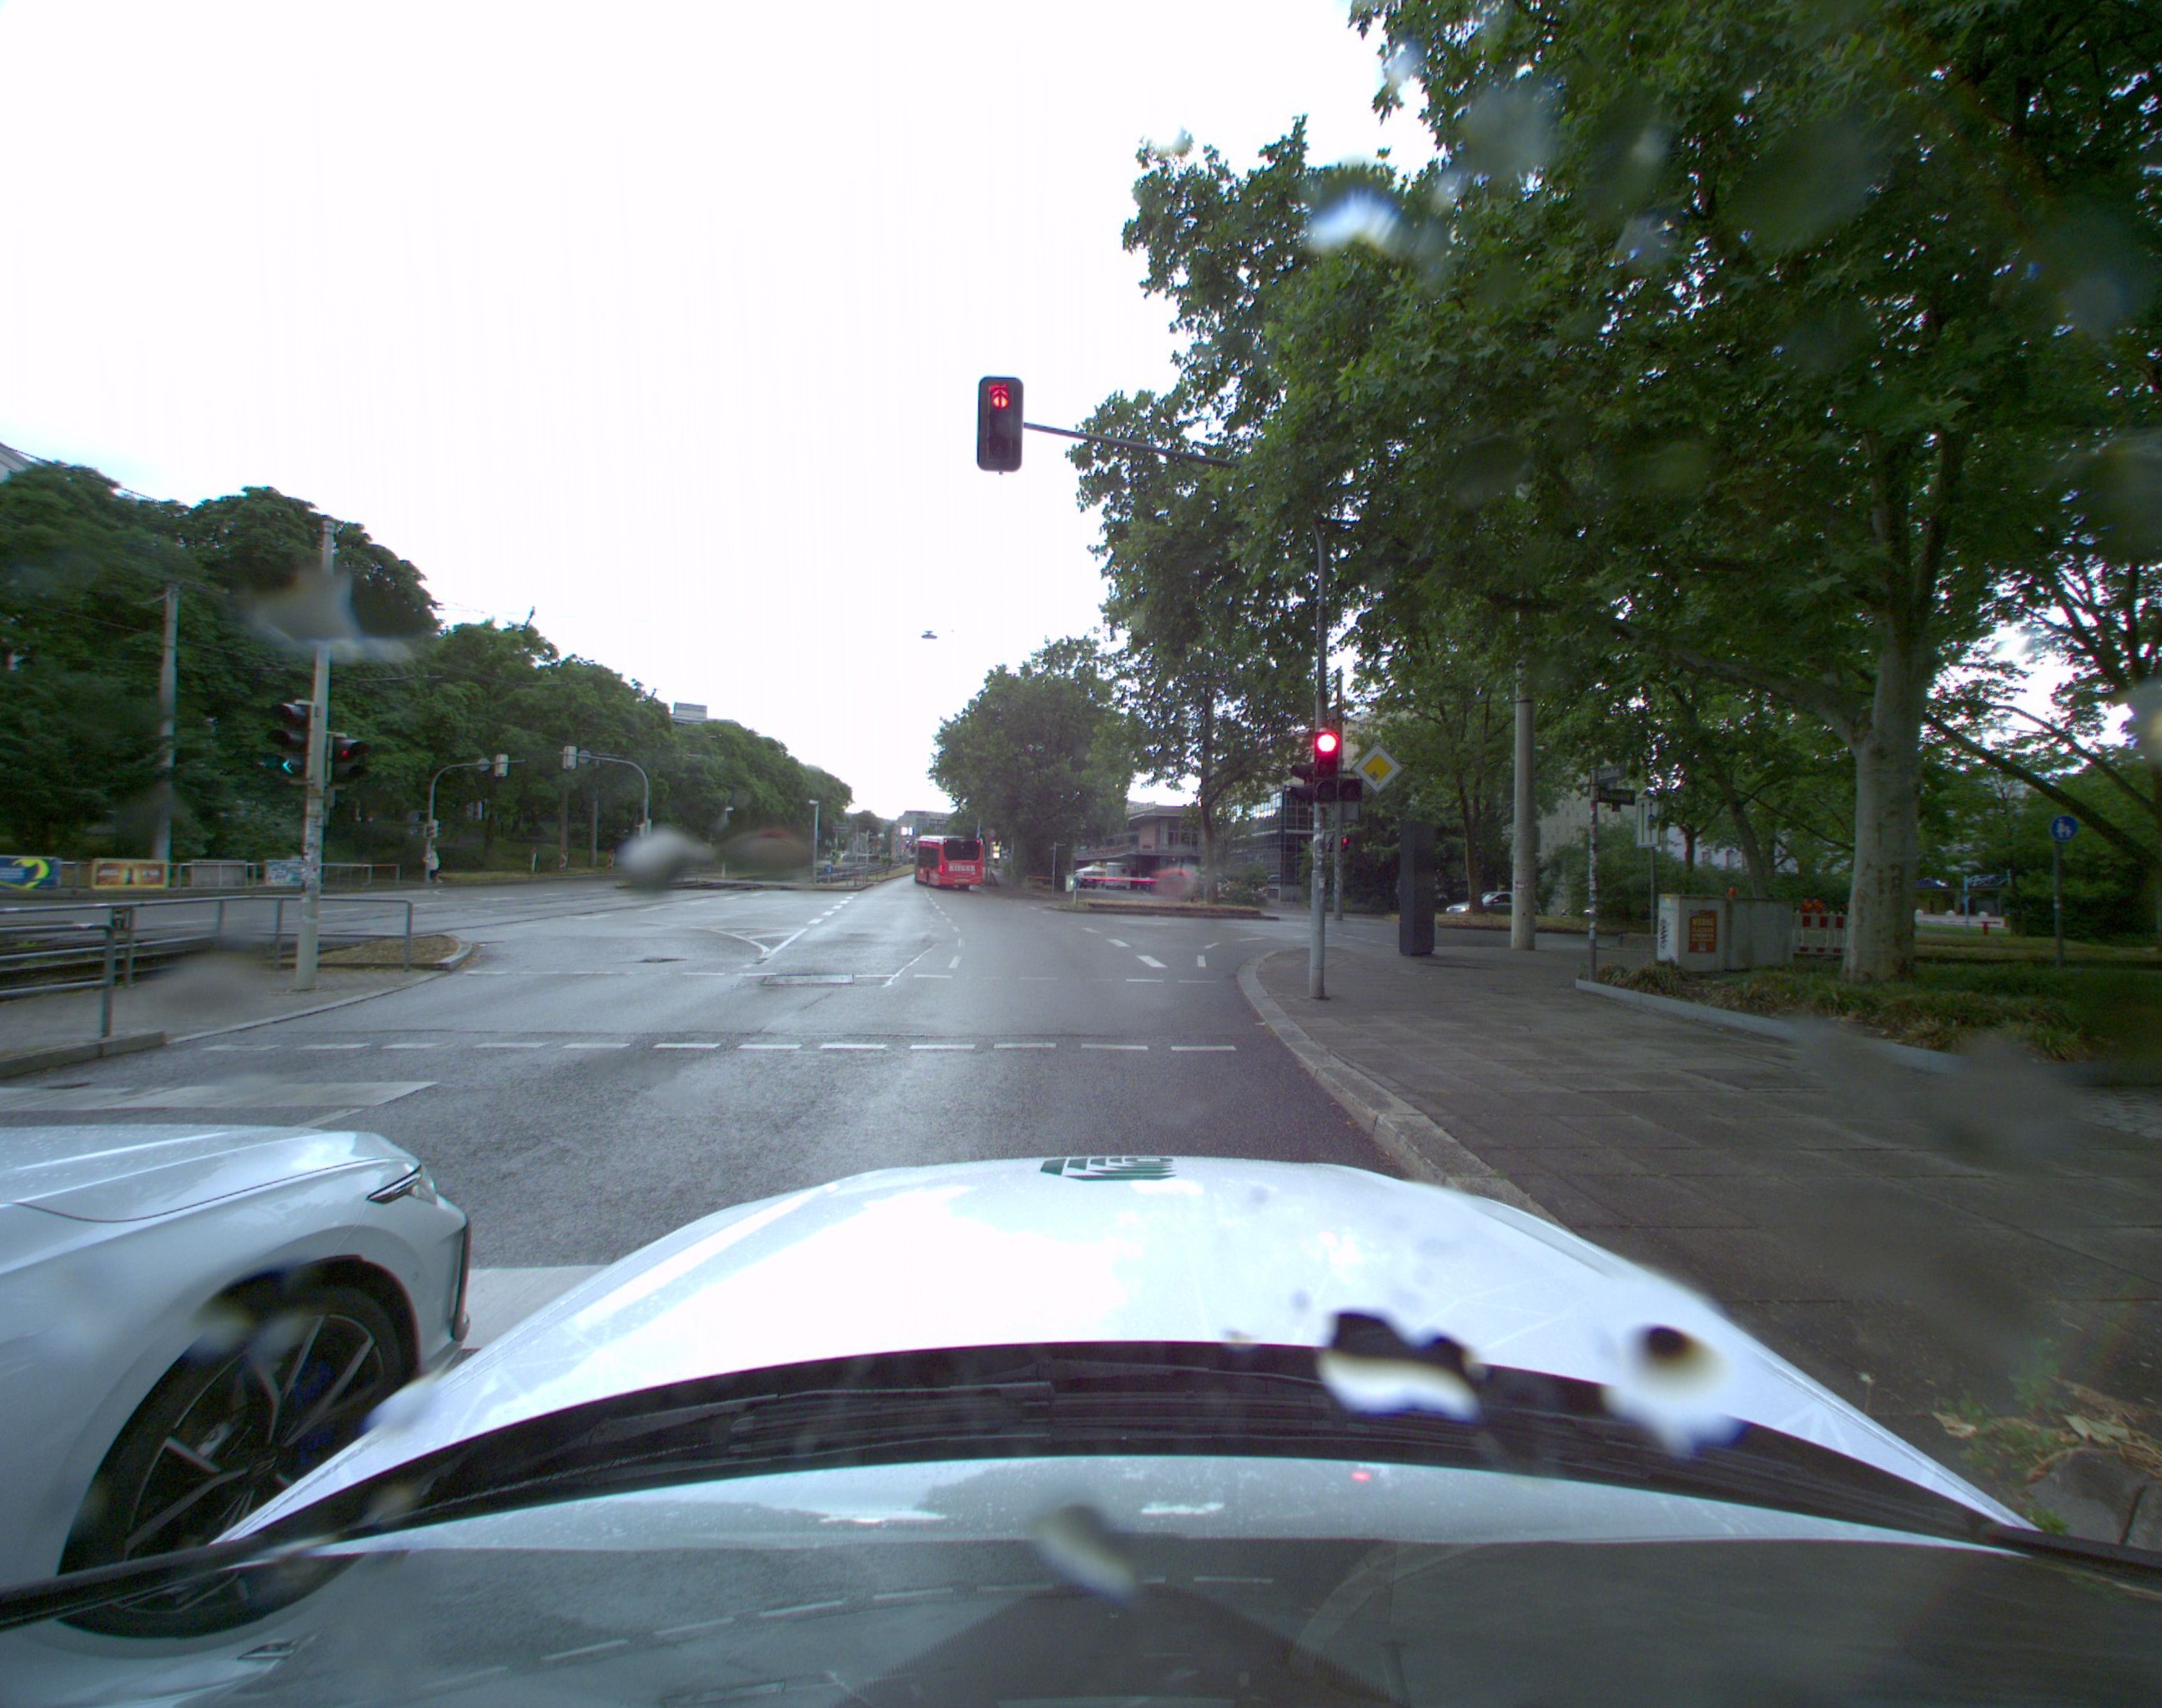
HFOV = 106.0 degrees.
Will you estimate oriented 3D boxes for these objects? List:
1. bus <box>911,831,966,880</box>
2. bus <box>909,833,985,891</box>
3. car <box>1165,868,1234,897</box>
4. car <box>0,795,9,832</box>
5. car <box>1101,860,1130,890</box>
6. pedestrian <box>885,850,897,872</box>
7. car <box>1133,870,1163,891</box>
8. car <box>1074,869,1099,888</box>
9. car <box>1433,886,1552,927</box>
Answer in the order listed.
[{"bbox_3d":[-10.131,0.185,58.905,2.544,3.111,9.445,3,-1,-2],"label":"bus"},{"bbox_3d":[-8.411,0.485,50.029,2.665,3.111,9.119,4,-2,-21],"label":"bus"},{"bbox_3d":[9.011,2.198,61.968,4.762,1.943,1.986,3,-2,-20],"label":"car"},{"bbox_3d":[-52.935,-2.029,37.897,2.005,1.794,4.172,4,-2,-28],"label":"car"},{"bbox_3d":[3.775,2.322,90.485,2.539,3.134,5.024,3,-2,-3],"label":"car"},{"bbox_3d":[-14.613,0.509,62.679,0.737,1.640,0.869,3,-2,-6],"label":"pedestrian"},{"bbox_3d":[6.910,2.764,84.422,1.994,2.014,3.985,3,-1,-10],"label":"car"},{"bbox_3d":[0.543,2.602,87.966,1.993,1.860,3.987,3,-1,-9],"label":"car"},{"bbox_3d":[17.257,2.178,34.265,3.980,1.442,1.997,3,-2,-5],"label":"car"}]
